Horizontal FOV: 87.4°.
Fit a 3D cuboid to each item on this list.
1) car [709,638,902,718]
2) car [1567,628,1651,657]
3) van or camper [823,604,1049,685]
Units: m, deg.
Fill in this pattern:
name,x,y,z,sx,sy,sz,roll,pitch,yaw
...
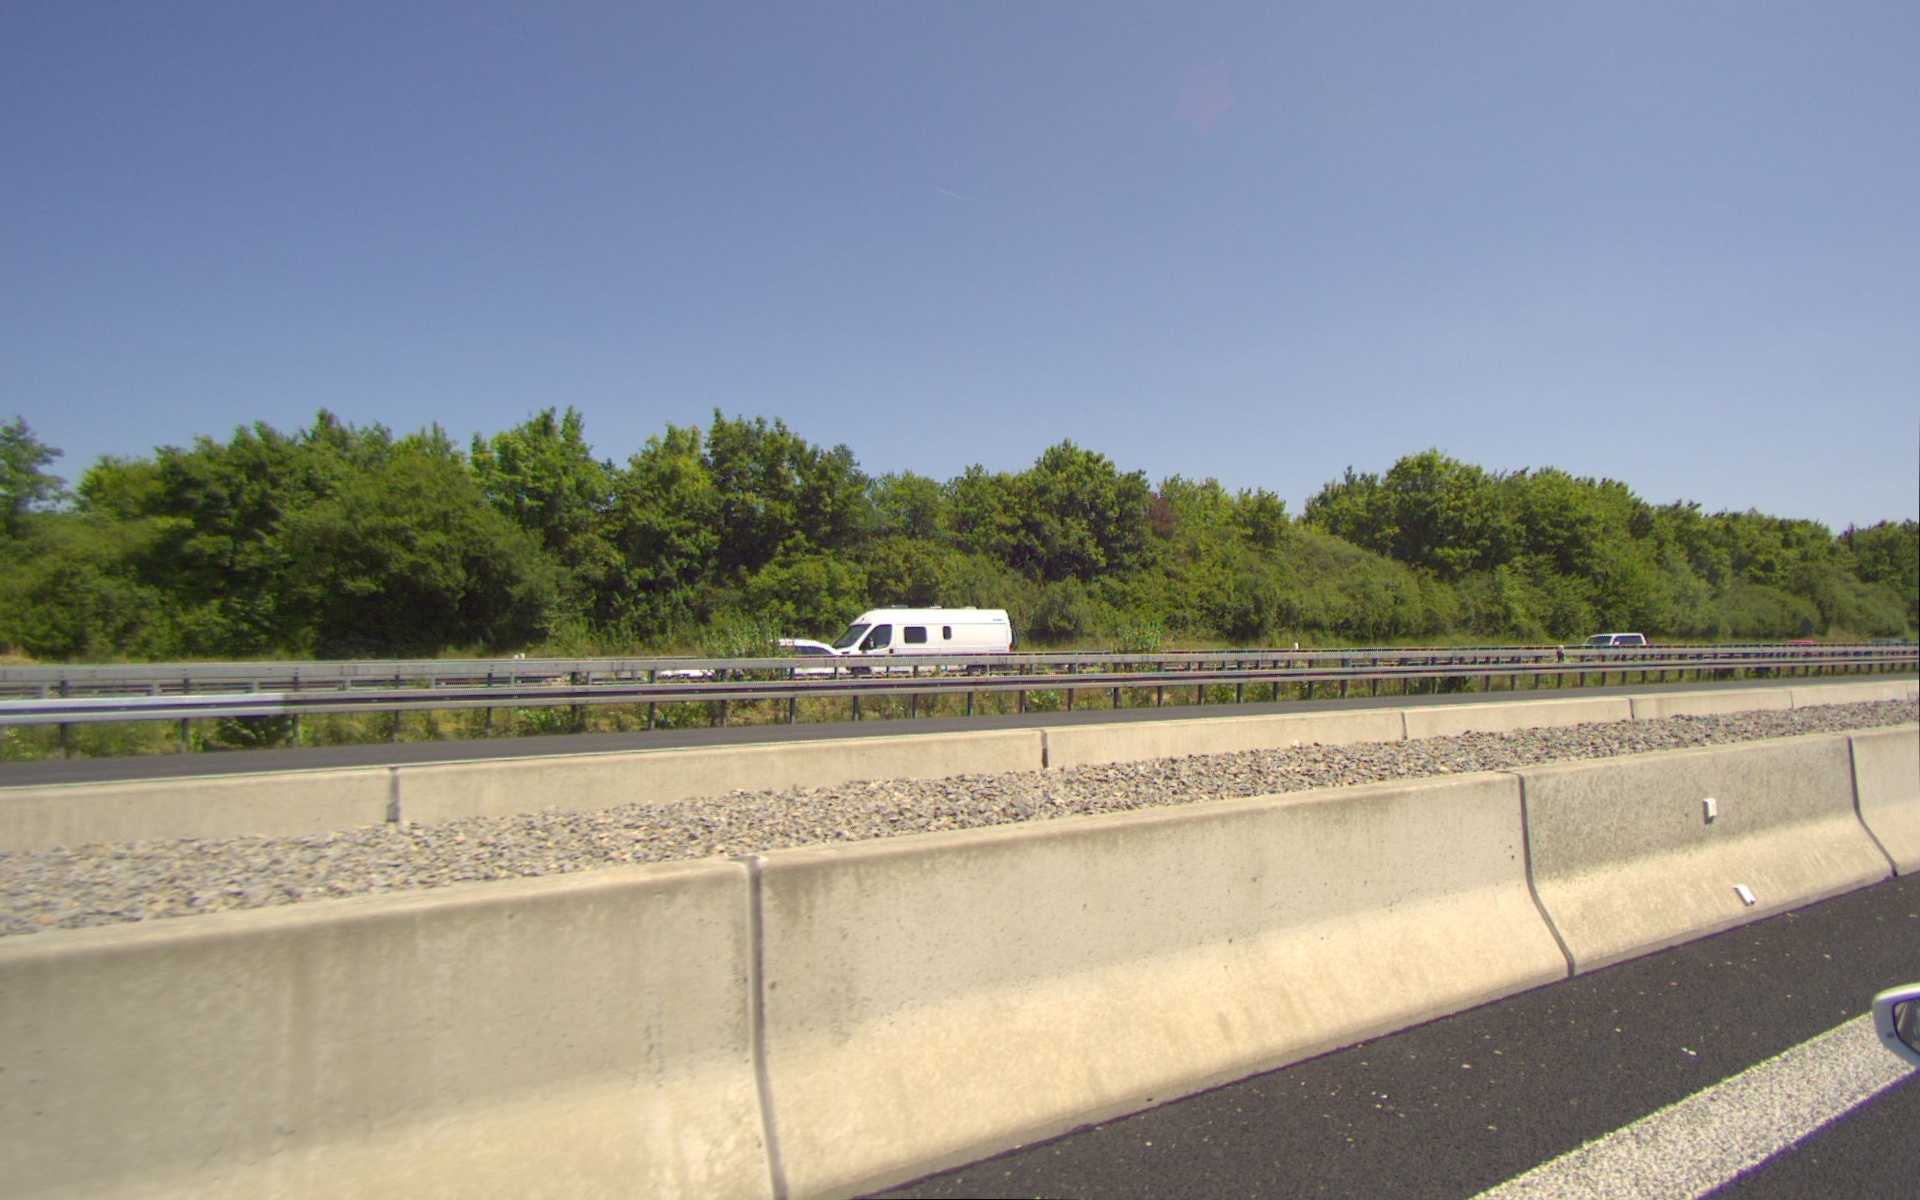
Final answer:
name,x,y,z,sx,sy,sz,roll,pitch,yaw
car,-3.805,1.882,24.997,4.403,1.751,1.785,2,0,-32
car,39.922,2.606,61.767,4.923,1.598,1.988,2,0,-24
van or camper,-0.665,1.385,31.369,6.885,2.285,2.097,2,0,-30
